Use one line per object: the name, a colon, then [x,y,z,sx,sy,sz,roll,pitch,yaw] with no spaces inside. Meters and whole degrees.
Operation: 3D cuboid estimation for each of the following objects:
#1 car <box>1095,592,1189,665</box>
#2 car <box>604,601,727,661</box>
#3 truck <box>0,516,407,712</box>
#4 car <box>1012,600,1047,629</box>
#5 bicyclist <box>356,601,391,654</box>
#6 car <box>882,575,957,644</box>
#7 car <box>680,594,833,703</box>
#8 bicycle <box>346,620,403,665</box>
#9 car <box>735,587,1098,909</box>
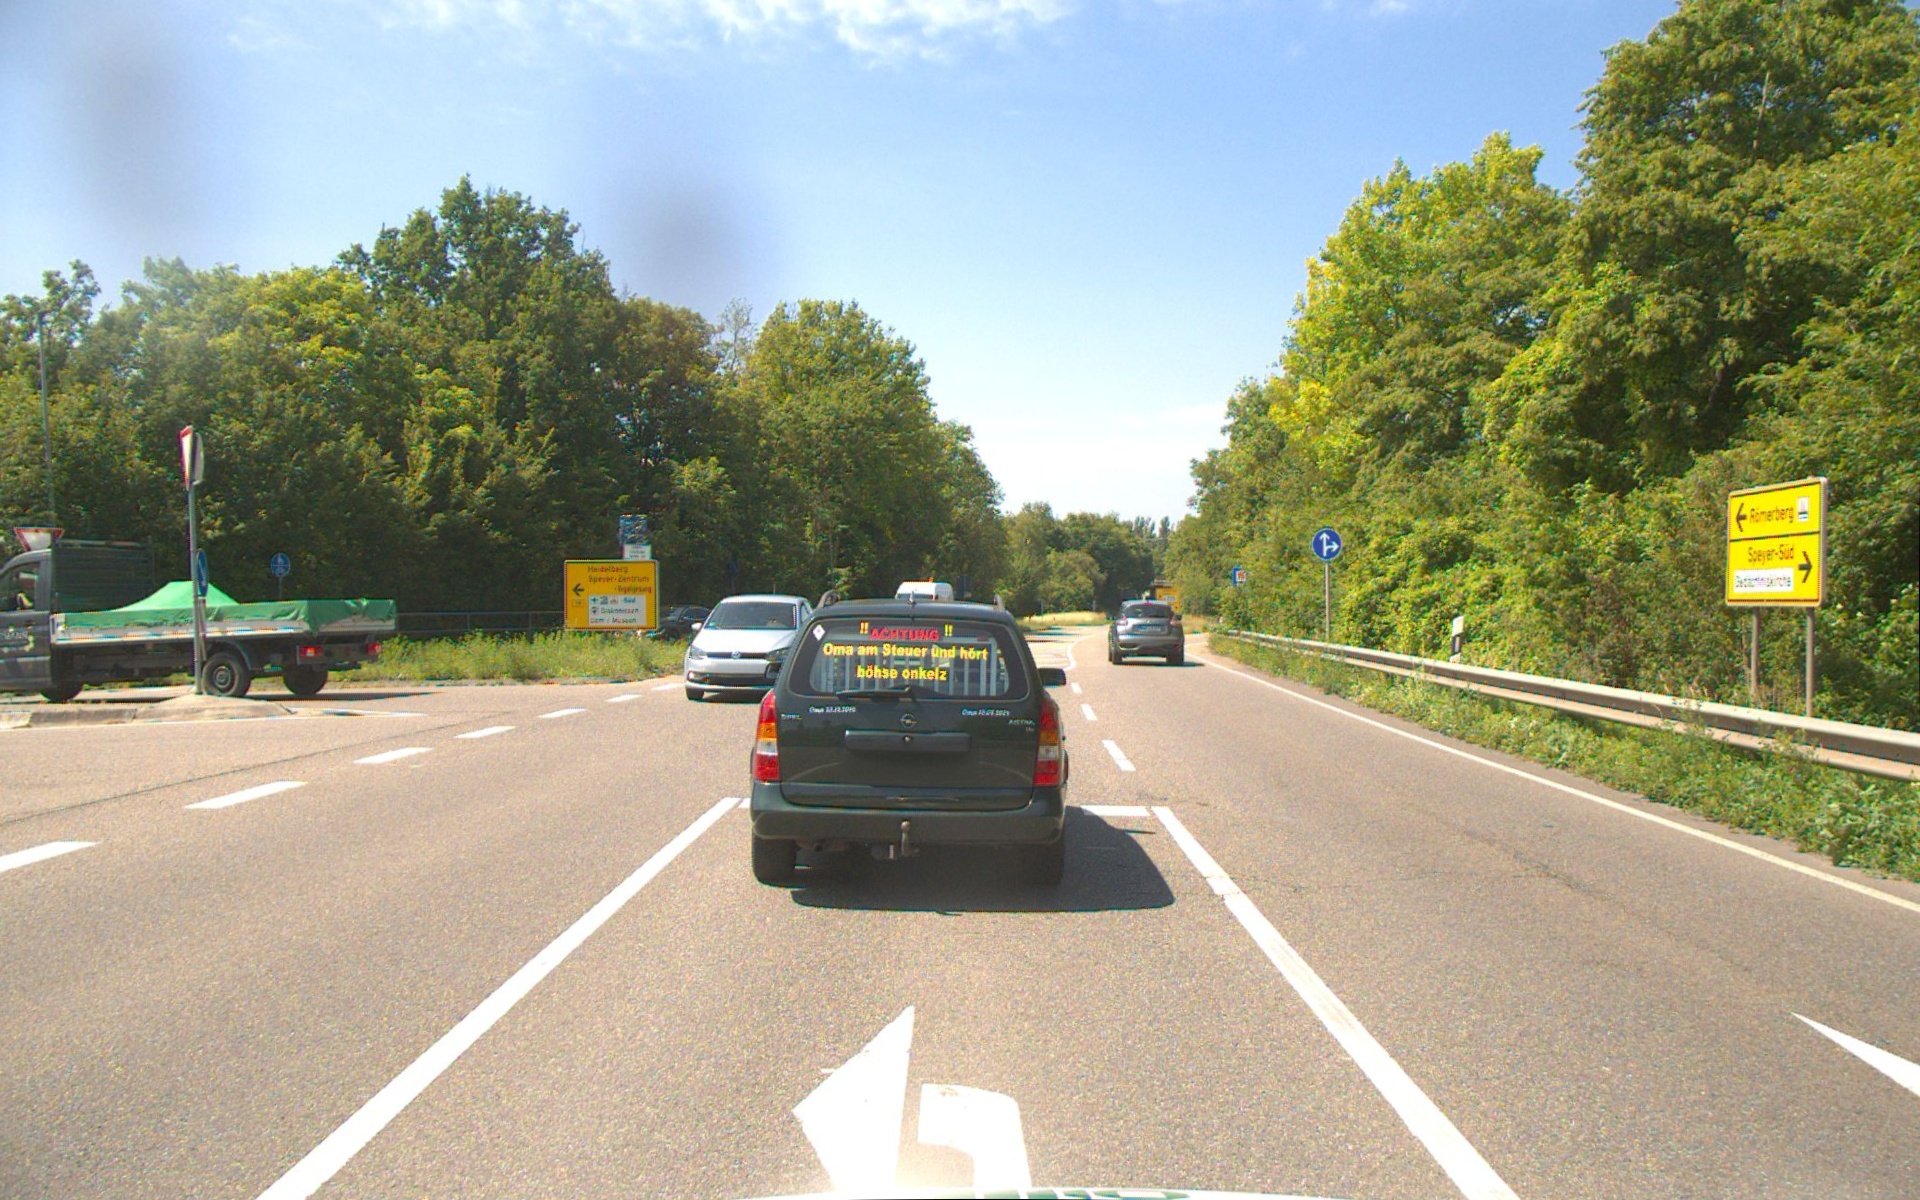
car: [4.484,0.669,41.256,1.806,1.714,3.999,0,1,-1]
car: [-8.774,0.902,49.577,1.639,1.691,3.997,0,0,25]
truck: [-11.744,0.252,24.546,6.476,2.610,2.148,-2,-1,13]
car: [7.822,1.618,186.554,1.970,3.282,4.766,0,0,-27]
bicyclist: [-15.566,0.716,43.877,0.675,1.387,0.607,0,0,34]
car: [-1.702,0.413,72.561,2.060,2.900,6.017,1,0,11]
car: [-2.870,0.655,24.009,1.610,1.443,3.767,1,0,2]
bicycle: [-15.539,1.115,43.903,0.427,1.133,1.478,-1,0,33]
car: [-0.210,0.679,9.643,1.685,1.482,3.797,1,1,0]
